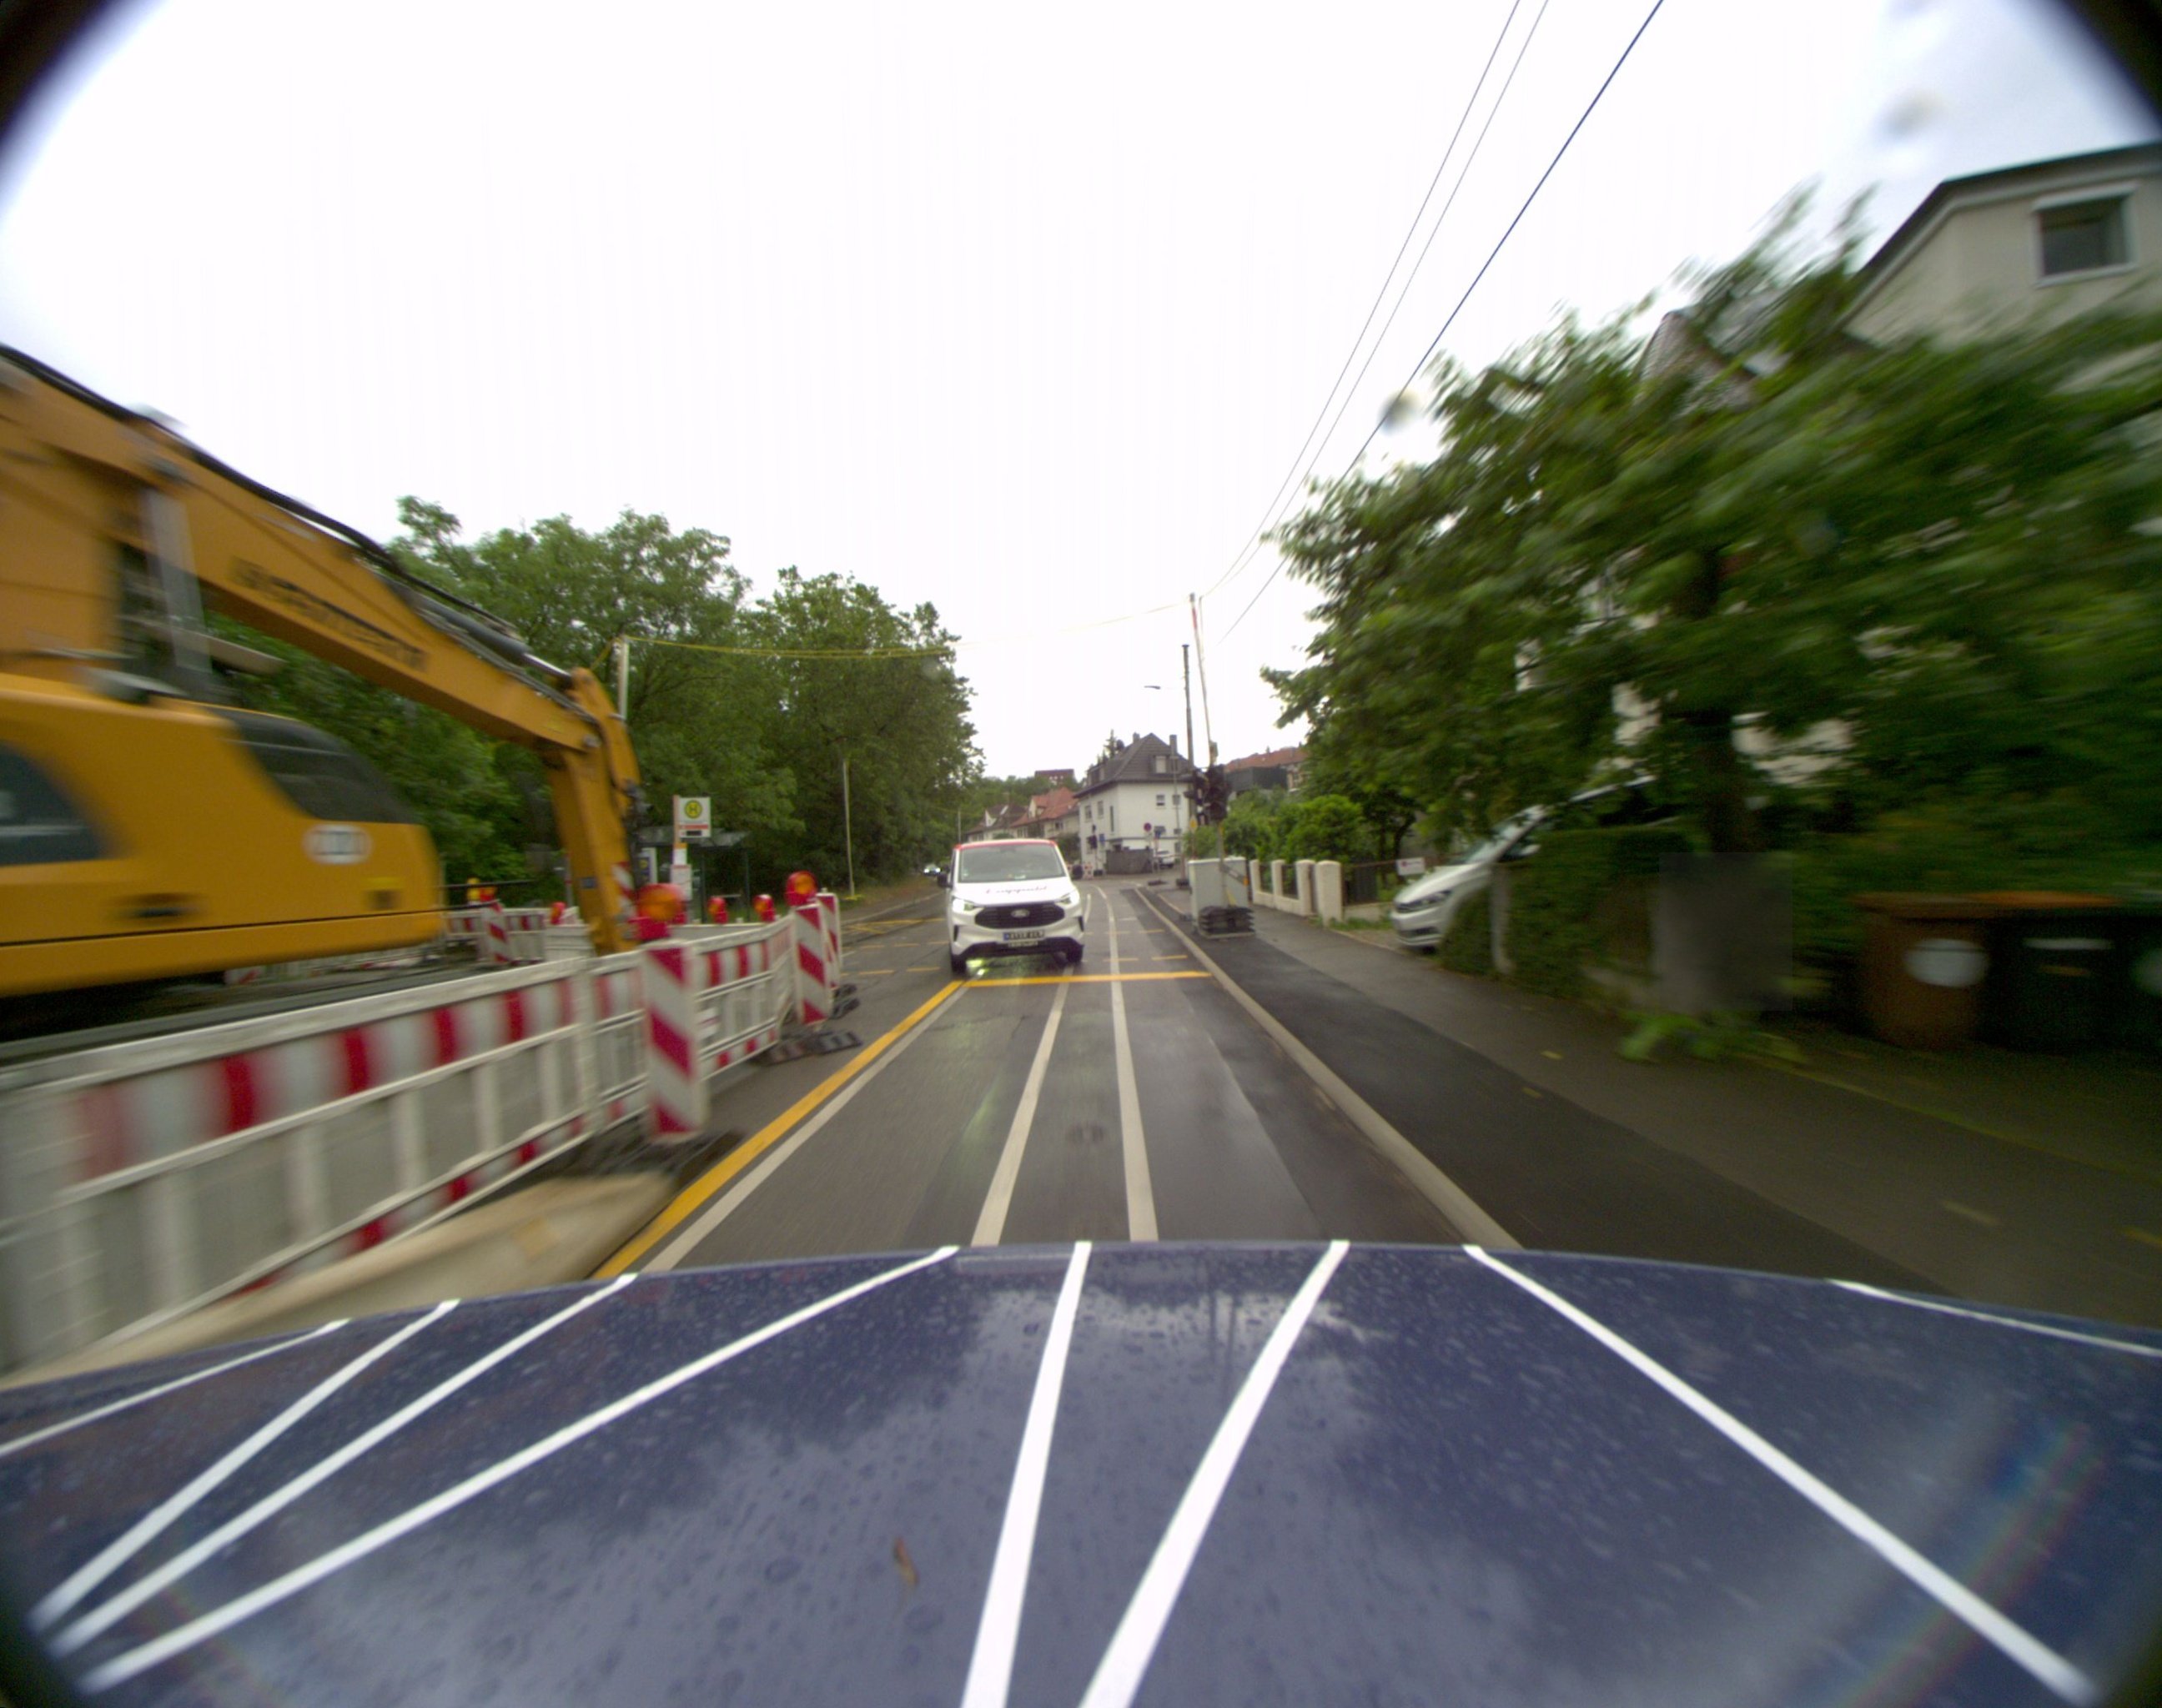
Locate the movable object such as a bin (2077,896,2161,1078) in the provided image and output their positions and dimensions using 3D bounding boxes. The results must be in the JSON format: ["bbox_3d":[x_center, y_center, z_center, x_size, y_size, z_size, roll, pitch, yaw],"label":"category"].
[{"bbox_3d":[6.025,0.717,4.173,0.465,0.926,0.488,-3,2,14],"label":"movable object such as a bin"}]

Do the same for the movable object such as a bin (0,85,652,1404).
[{"bbox_3d":[-4.752,-0.328,3.229,2.885,4.146,4.489,-3,0,5],"label":"movable object such as a bin"}]

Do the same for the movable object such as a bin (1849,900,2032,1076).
[{"bbox_3d":[5.016,0.763,4.467,0.505,0.926,0.505,-3,2,14],"label":"movable object such as a bin"}]

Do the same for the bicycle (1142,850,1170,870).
[{"bbox_3d":[5.263,0.405,53.215,1.733,1.304,0.706,-5,2,-10],"label":"bicycle"}]

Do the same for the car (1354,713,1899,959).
[{"bbox_3d":[6.276,-0.127,9.464,4.972,1.607,1.865,-14,-2,12],"label":"car"}]

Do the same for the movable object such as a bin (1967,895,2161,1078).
[{"bbox_3d":[5.527,0.725,4.296,0.465,0.926,0.488,-3,2,14],"label":"movable object such as a bin"}]

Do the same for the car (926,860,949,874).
[{"bbox_3d":[-16.728,1.534,88.675,1.825,1.328,3.625,-5,1,1],"label":"car"}]

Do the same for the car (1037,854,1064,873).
[{"bbox_3d":[-2.785,0.864,68.732,1.899,1.485,3.795,-3,-1,-11],"label":"car"}]

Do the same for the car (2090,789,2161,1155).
[{"bbox_3d":[6.259,0.377,2.025,3.994,1.517,1.942,-4,1,11],"label":"car"}]

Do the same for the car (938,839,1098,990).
[{"bbox_3d":[-1.294,0.799,12.936,2.047,1.883,5.204,-5,1,-10],"label":"car"}]
